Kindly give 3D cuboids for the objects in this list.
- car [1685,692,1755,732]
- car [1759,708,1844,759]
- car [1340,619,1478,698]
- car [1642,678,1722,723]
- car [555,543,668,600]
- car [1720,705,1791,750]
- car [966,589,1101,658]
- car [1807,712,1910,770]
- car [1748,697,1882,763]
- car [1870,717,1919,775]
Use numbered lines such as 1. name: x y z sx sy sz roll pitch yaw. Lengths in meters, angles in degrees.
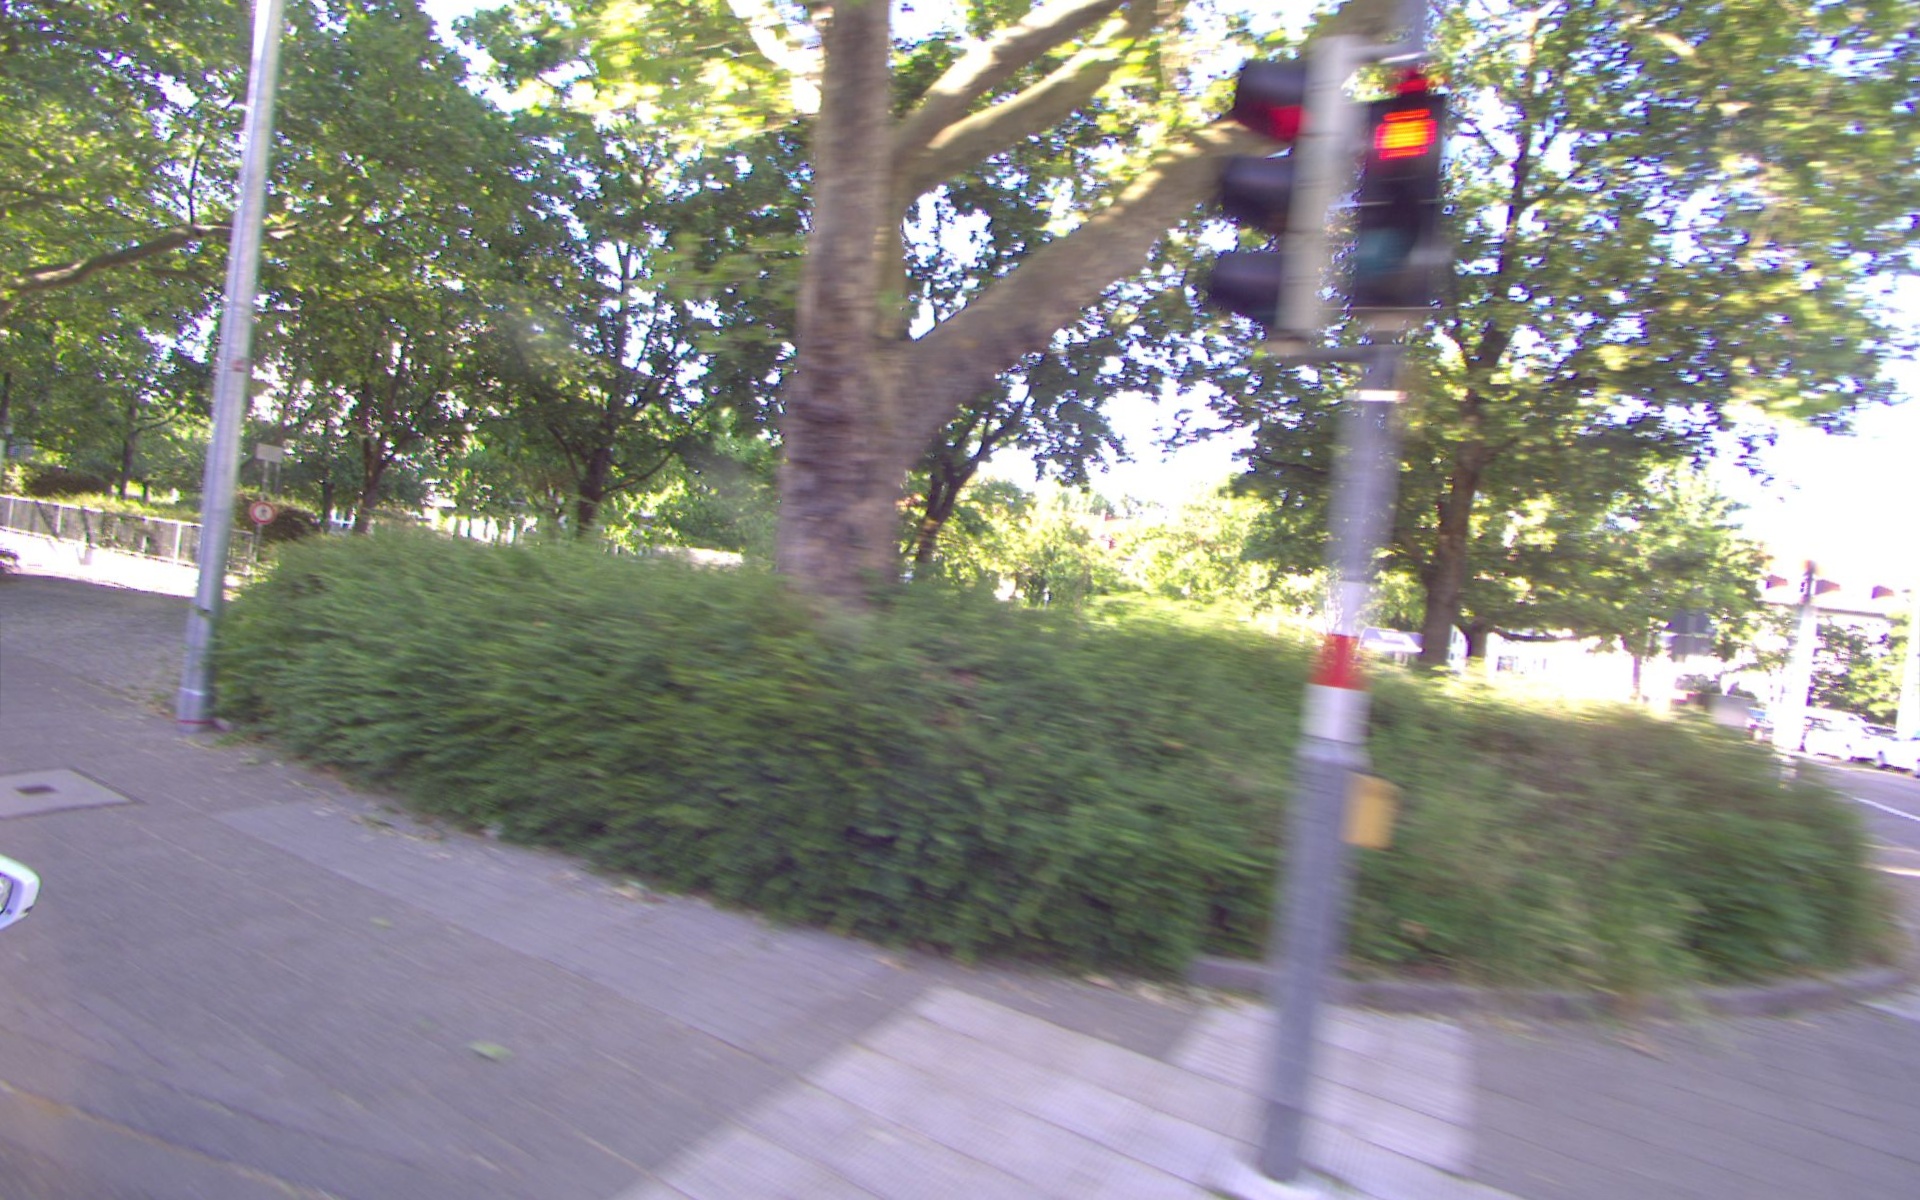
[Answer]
1. car: 36.998 5.431 49.042 1.600 1.509 3.602 8 0 21
2. car: 33.083 5.216 39.638 1.602 1.503 3.845 8 0 27
3. car: 19.271 2.474 43.229 5.070 2.605 1.997 8 1 28
4. car: 38.829 5.373 54.259 2.051 1.810 4.908 7 1 20
5. car: -13.570 -1.111 39.185 3.928 1.646 1.762 7 1 25
6. car: 35.212 5.616 44.622 1.602 1.503 3.845 8 0 27
7. car: 2.574 0.817 35.560 4.237 1.834 1.785 8 1 29
8. car: 31.333 4.880 35.188 1.602 1.503 3.845 8 0 27
9. car: 47.589 7.208 56.140 5.022 2.653 1.999 8 3 16
10. car: 29.314 4.510 30.380 1.602 1.503 3.845 8 0 27
